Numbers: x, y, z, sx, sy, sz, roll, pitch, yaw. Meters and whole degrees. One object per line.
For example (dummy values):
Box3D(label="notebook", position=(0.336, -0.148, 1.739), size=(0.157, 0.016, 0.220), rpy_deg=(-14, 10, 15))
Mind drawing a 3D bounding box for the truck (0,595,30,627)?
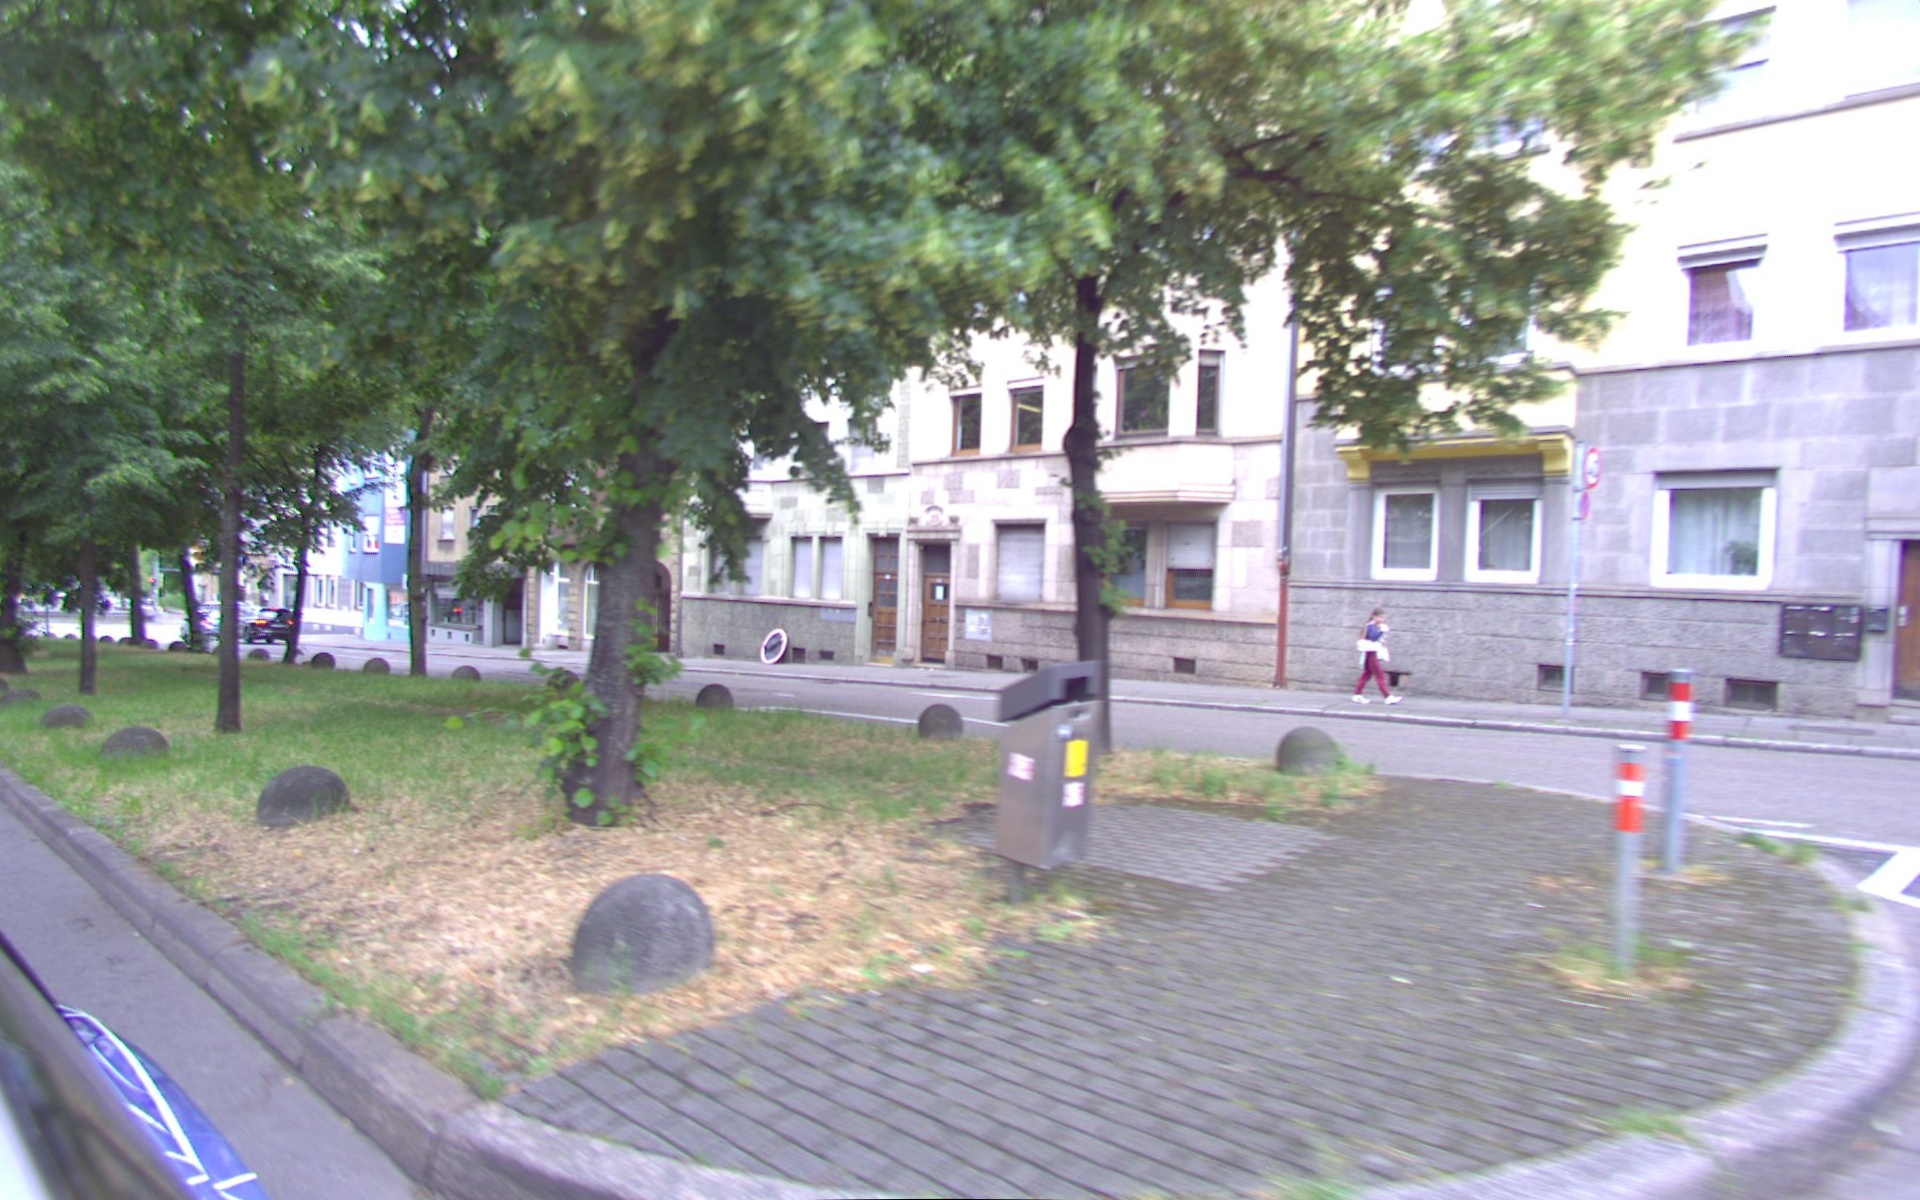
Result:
Box3D(label="truck", position=(-83.272, 0.966, 85.727), size=(2.738, 2.744, 6.444), rpy_deg=(0, -1, 6))

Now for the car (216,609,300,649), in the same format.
Box3D(label="car", position=(-31.116, 1.267, 44.829), size=(4.674, 1.649, 1.798), rpy_deg=(0, -1, 39))

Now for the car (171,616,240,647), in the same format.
Box3D(label="car", position=(-37.026, 1.527, 49.628), size=(4.288, 1.417, 1.653), rpy_deg=(-1, -1, 38))

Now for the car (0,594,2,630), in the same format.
Box3D(label="car", position=(-55.897, 0.686, 55.708), size=(4.201, 2.028, 2.004), rpy_deg=(0, 1, -9))

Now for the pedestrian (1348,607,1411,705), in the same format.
Box3D(label="pedestrian", position=(6.587, 0.864, 15.899), size=(0.703, 1.471, 0.691), rpy_deg=(-2, 0, 41))
